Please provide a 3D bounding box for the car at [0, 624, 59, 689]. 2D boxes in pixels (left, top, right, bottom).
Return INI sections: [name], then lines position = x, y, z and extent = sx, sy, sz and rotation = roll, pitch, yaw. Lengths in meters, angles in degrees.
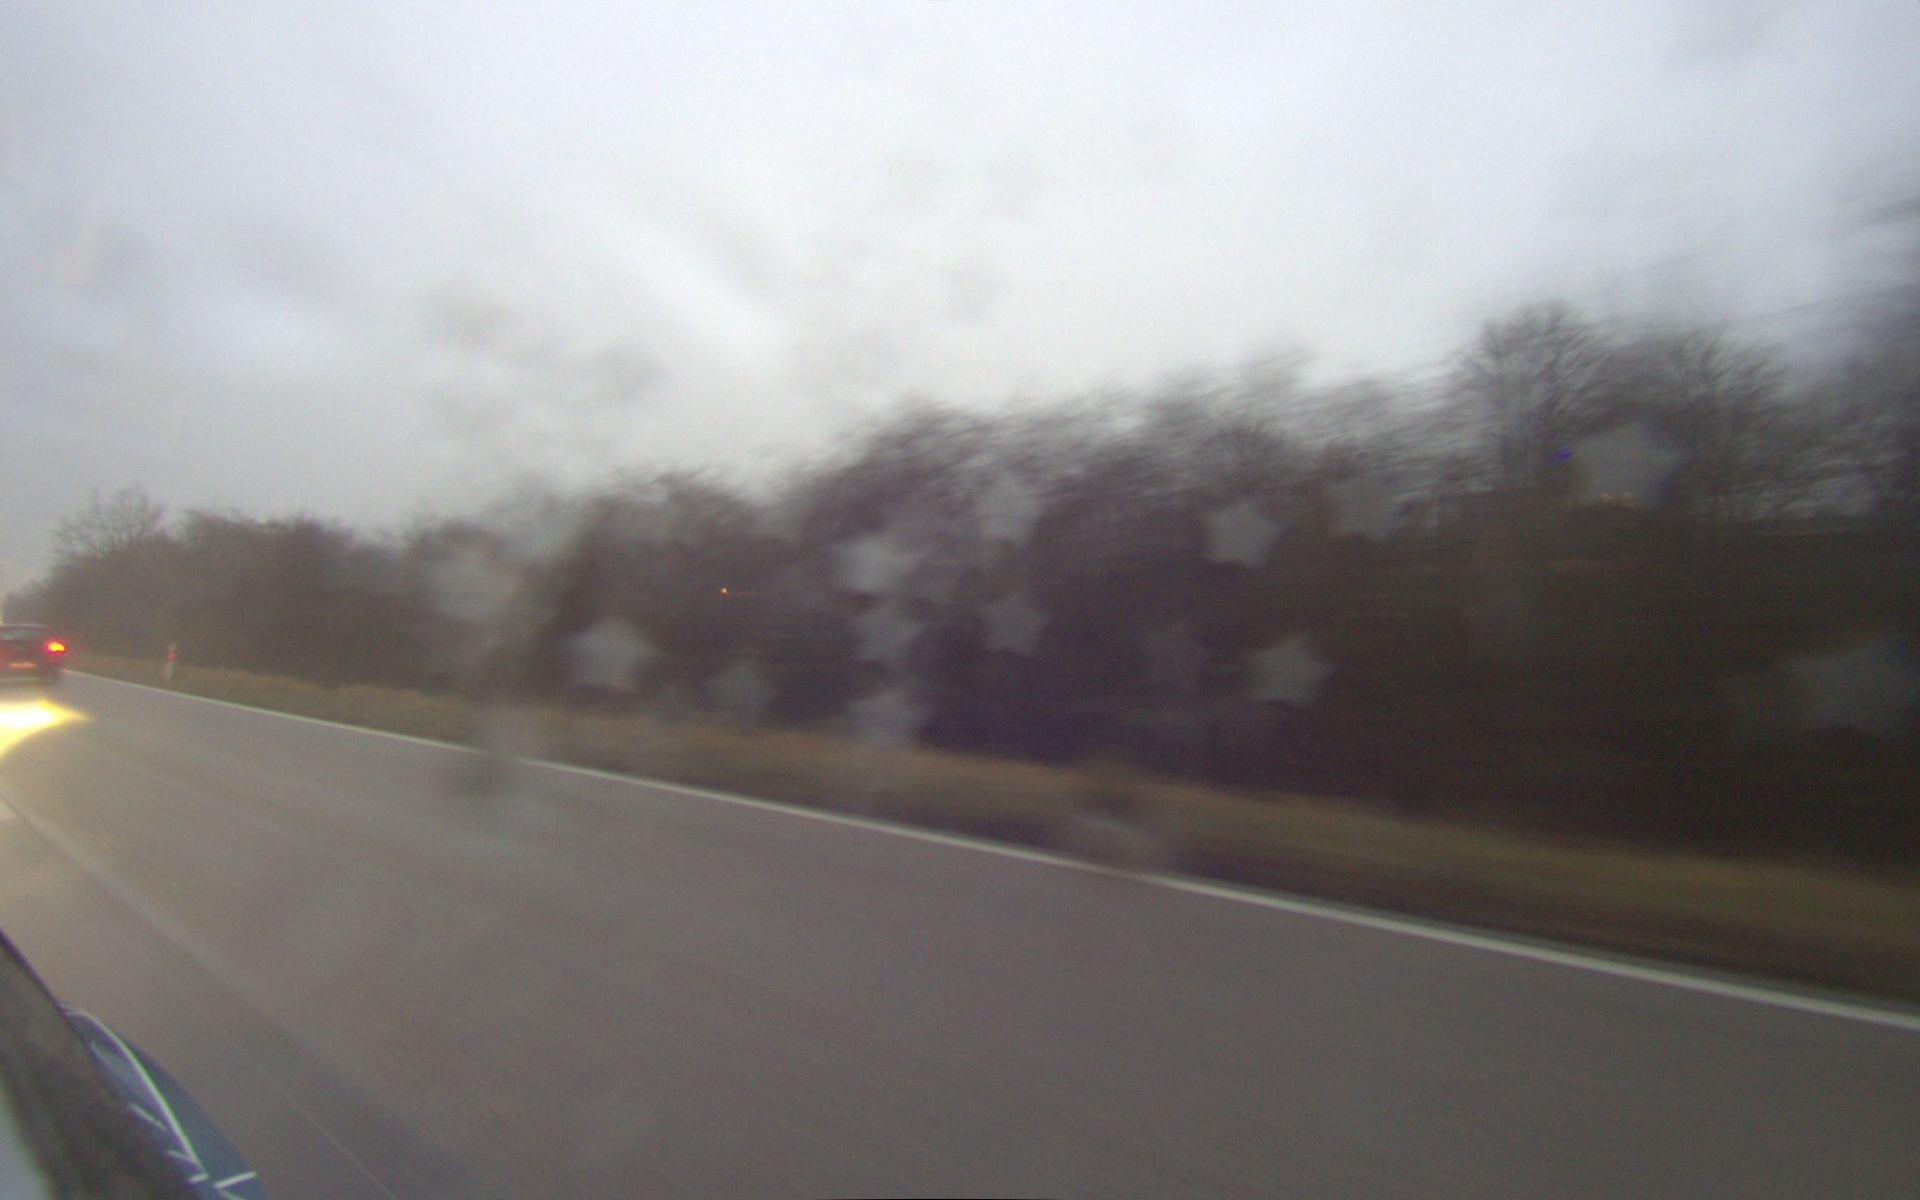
[car]
position = -23.502, 1.357, 24.864
extent = 3.668, 1.497, 1.638
rotation = -1, -1, 42
